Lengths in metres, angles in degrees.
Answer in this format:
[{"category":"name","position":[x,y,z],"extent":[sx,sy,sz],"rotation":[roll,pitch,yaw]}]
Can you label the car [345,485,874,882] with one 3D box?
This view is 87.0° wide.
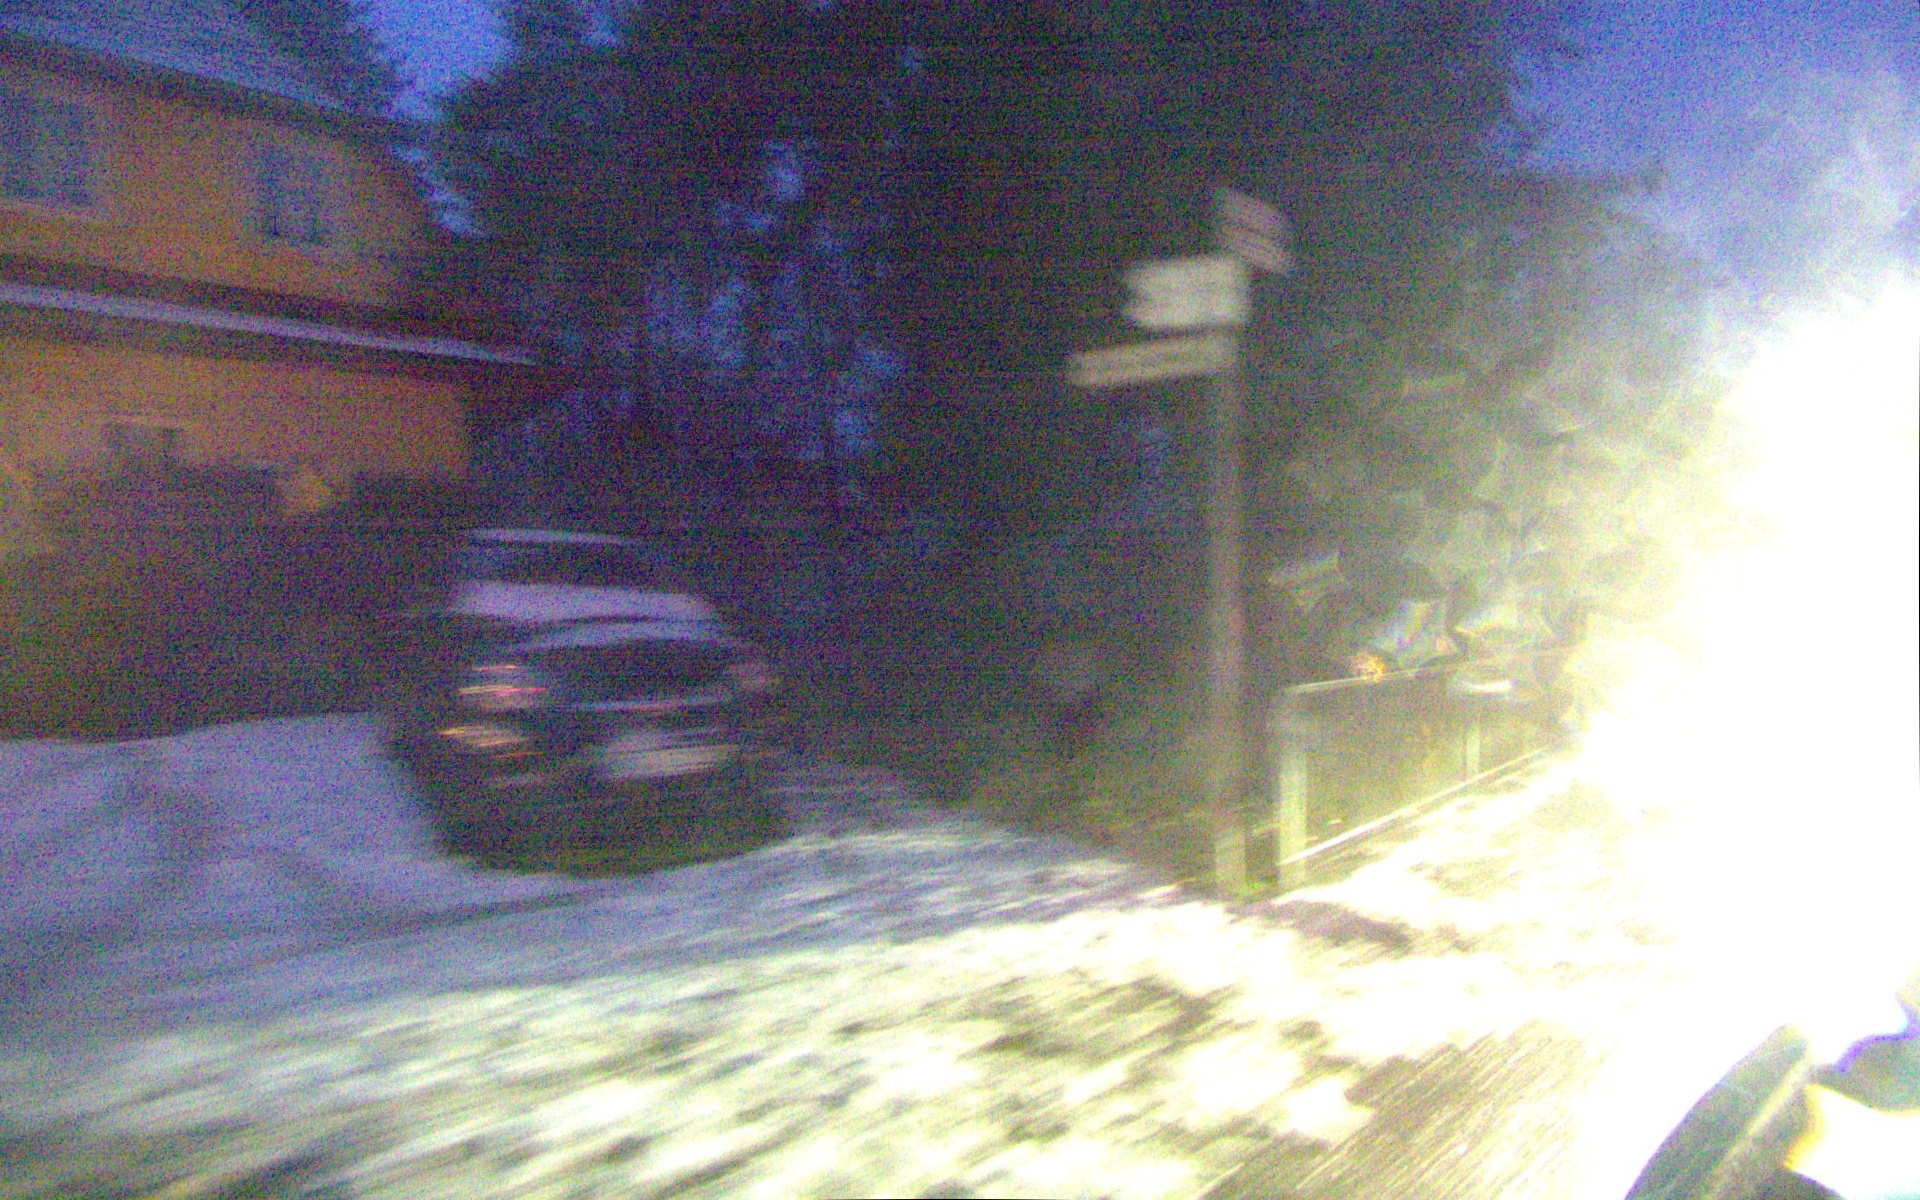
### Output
[{"category":"car","position":[-2.562,0.233,6.466],"extent":[1.903,1.605,4.482],"rotation":[1,2,-37]}]
